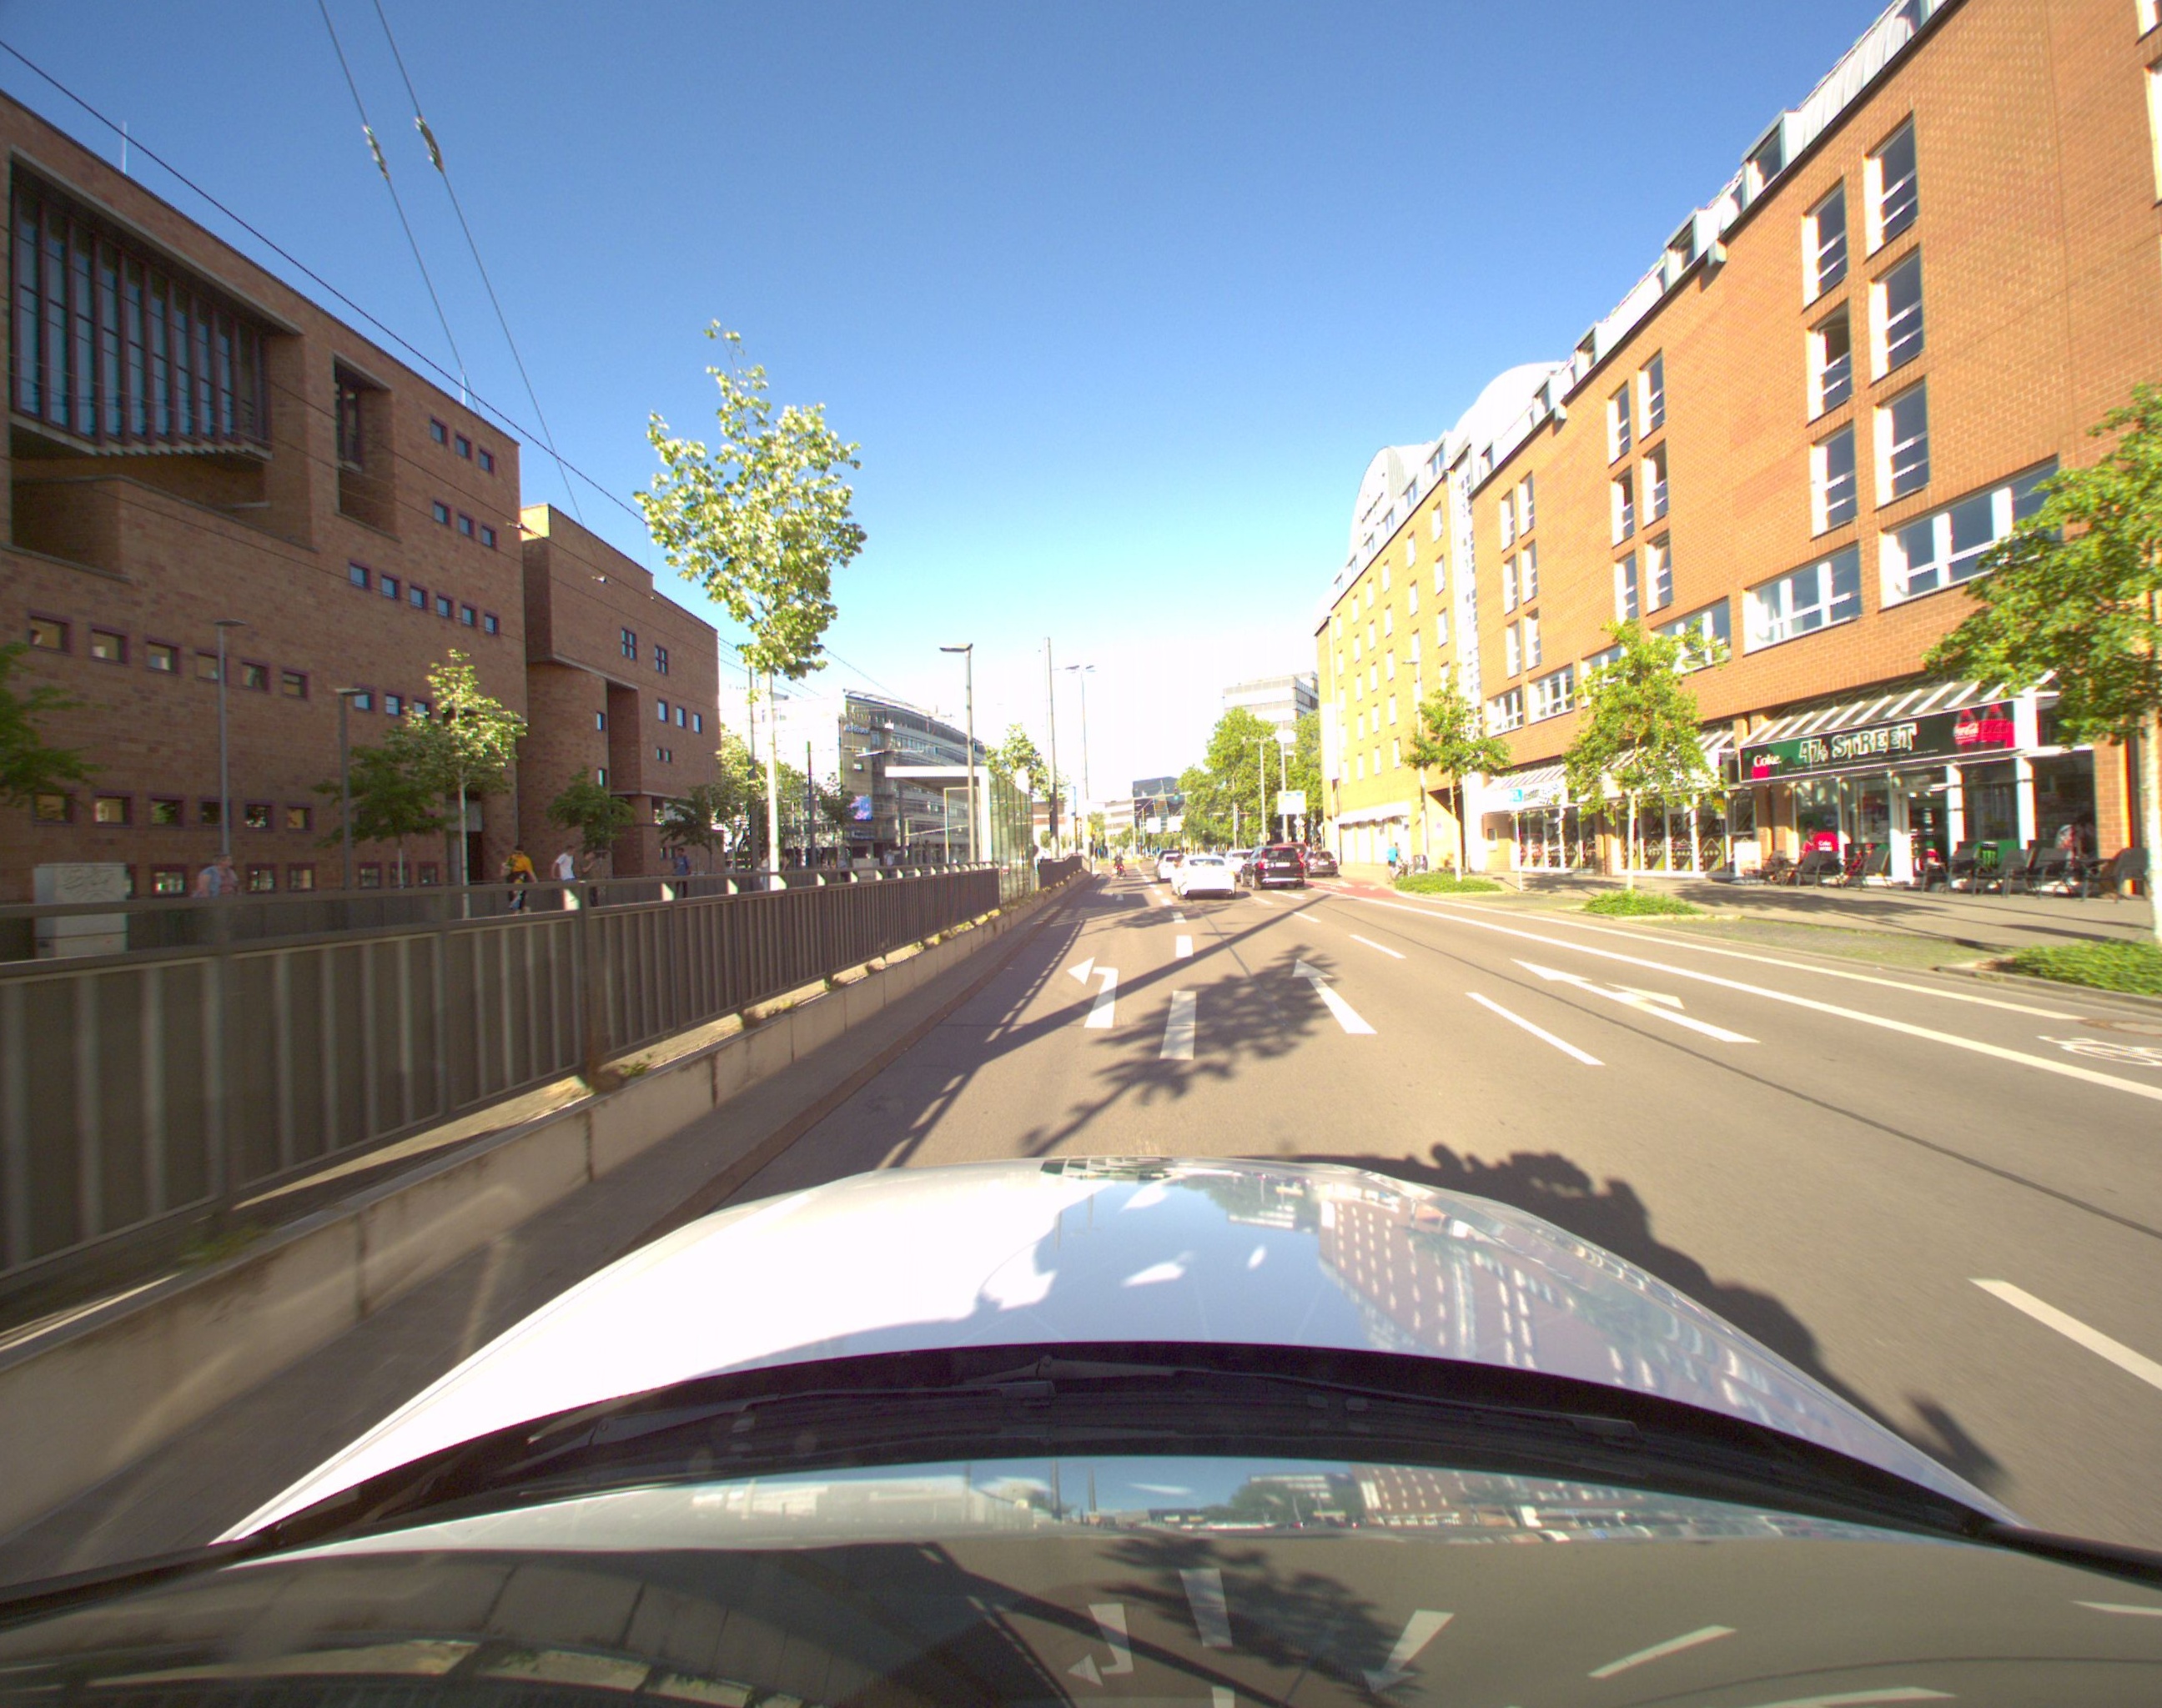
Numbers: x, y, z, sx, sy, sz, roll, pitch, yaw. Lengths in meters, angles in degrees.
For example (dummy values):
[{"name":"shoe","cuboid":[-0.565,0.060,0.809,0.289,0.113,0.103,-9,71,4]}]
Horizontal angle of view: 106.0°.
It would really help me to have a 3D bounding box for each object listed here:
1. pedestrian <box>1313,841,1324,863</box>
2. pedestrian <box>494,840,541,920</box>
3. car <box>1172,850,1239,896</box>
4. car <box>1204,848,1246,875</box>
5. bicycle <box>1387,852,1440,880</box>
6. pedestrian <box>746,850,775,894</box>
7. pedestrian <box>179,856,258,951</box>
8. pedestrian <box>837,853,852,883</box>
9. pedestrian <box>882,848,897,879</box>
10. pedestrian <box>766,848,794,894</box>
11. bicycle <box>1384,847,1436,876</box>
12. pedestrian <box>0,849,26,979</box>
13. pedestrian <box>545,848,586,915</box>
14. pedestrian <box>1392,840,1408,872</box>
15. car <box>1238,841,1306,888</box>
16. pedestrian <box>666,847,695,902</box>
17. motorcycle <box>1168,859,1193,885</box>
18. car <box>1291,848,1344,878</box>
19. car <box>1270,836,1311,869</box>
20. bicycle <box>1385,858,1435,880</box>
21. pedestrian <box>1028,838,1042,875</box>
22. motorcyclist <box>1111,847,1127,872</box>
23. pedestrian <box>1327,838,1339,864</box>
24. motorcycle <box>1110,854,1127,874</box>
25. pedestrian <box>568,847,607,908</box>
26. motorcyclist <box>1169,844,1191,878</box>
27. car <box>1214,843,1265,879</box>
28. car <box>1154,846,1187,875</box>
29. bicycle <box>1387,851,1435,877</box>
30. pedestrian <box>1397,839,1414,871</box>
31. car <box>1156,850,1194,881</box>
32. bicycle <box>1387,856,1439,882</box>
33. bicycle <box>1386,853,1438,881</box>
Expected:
[{"name":"pedestrian","cuboid":[19.812,-0.141,67.879,0.604,1.821,0.749,-2,-1,2]},{"name":"pedestrian","cuboid":[-12.151,0.547,17.573,0.637,1.696,0.541,0,0,3]},{"name":"car","cuboid":[4.113,0.579,27.557,1.773,1.414,4.822,0,0,3]},{"name":"car","cuboid":[8.349,0.398,47.572,1.843,1.497,4.382,-1,0,3]},{"name":"bicycle","cuboid":[13.486,0.484,33.108,1.929,1.022,0.504,-3,-1,20]},{"name":"pedestrian","cuboid":[-11.851,0.662,30.120,0.637,1.608,0.946,0,0,3]},{"name":"pedestrian","cuboid":[-13.530,0.758,12.789,0.537,1.459,0.643,0,0,3]},{"name":"pedestrian","cuboid":[-12.662,0.737,43.622,0.561,1.609,0.616,-1,0,3]},{"name":"pedestrian","cuboid":[-11.569,0.553,49.250,0.611,1.817,0.897,-1,0,3]},{"name":"pedestrian","cuboid":[-11.117,0.614,30.082,0.637,1.643,0.946,0,0,3]},{"name":"bicycle","cuboid":[14.058,0.323,34.832,1.931,1.137,0.492,-3,-1,13]},{"name":"pedestrian","cuboid":[-13.687,0.746,10.138,0.376,1.621,0.553,0,0,3]},{"name":"pedestrian","cuboid":[-13.360,0.701,21.107,0.620,1.714,0.616,-1,0,3]},{"name":"pedestrian","cuboid":[18.427,0.096,47.048,0.604,1.821,0.749,-2,-1,2]},{"name":"car","cuboid":[7.669,0.399,33.120,1.966,1.759,4.637,0,0,3]},{"name":"pedestrian","cuboid":[-12.936,0.653,26.329,0.579,1.738,0.616,-1,0,3]},{"name":"motorcycle","cuboid":[4.416,0.796,36.244,0.834,1.062,2.554,-2,0,2]},{"name":"car","cuboid":[12.955,0.461,44.930,1.839,1.560,4.637,0,0,3]},{"name":"car","cuboid":[13.336,-0.077,52.074,1.852,1.961,4.005,-2,0,4]},{"name":"bicycle","cuboid":[14.463,0.666,35.775,1.926,0.835,0.558,-4,-1,29]},{"name":"pedestrian","cuboid":[-2.112,0.117,37.310,0.517,1.669,0.550,-1,0,3]},{"name":"motorcyclist","cuboid":[2.474,0.347,53.327,1.014,1.603,1.149,0,0,3]},{"name":"pedestrian","cuboid":[18.431,-0.224,59.635,0.604,1.821,0.749,-2,-1,2]},{"name":"motorcycle","cuboid":[2.477,0.641,53.246,1.014,1.312,2.917,0,0,3]},{"name":"pedestrian","cuboid":[-13.326,0.625,21.987,0.620,1.612,0.616,-1,0,3]},{"name":"motorcyclist","cuboid":[4.385,0.295,36.209,0.834,1.475,1.237,-2,0,2]},{"name":"car","cuboid":[7.848,0.324,40.740,1.843,1.639,4.382,-2,0,3]},{"name":"car","cuboid":[5.491,0.376,50.300,1.790,1.705,4.066,-1,0,3]},{"name":"bicycle","cuboid":[15.051,0.474,37.173,1.931,1.074,0.628,-3,-1,14]},{"name":"pedestrian","cuboid":[18.495,0.070,46.472,0.604,1.821,0.749,-2,-1,2]},{"name":"car","cuboid":[4.762,0.556,41.510,1.685,1.497,4.413,0,0,3]},{"name":"bicycle","cuboid":[13.683,0.623,33.614,1.929,0.969,0.557,-3,-1,20]},{"name":"bicycle","cuboid":[13.935,0.530,34.313,1.931,1.075,0.556,-3,-1,13]}]
